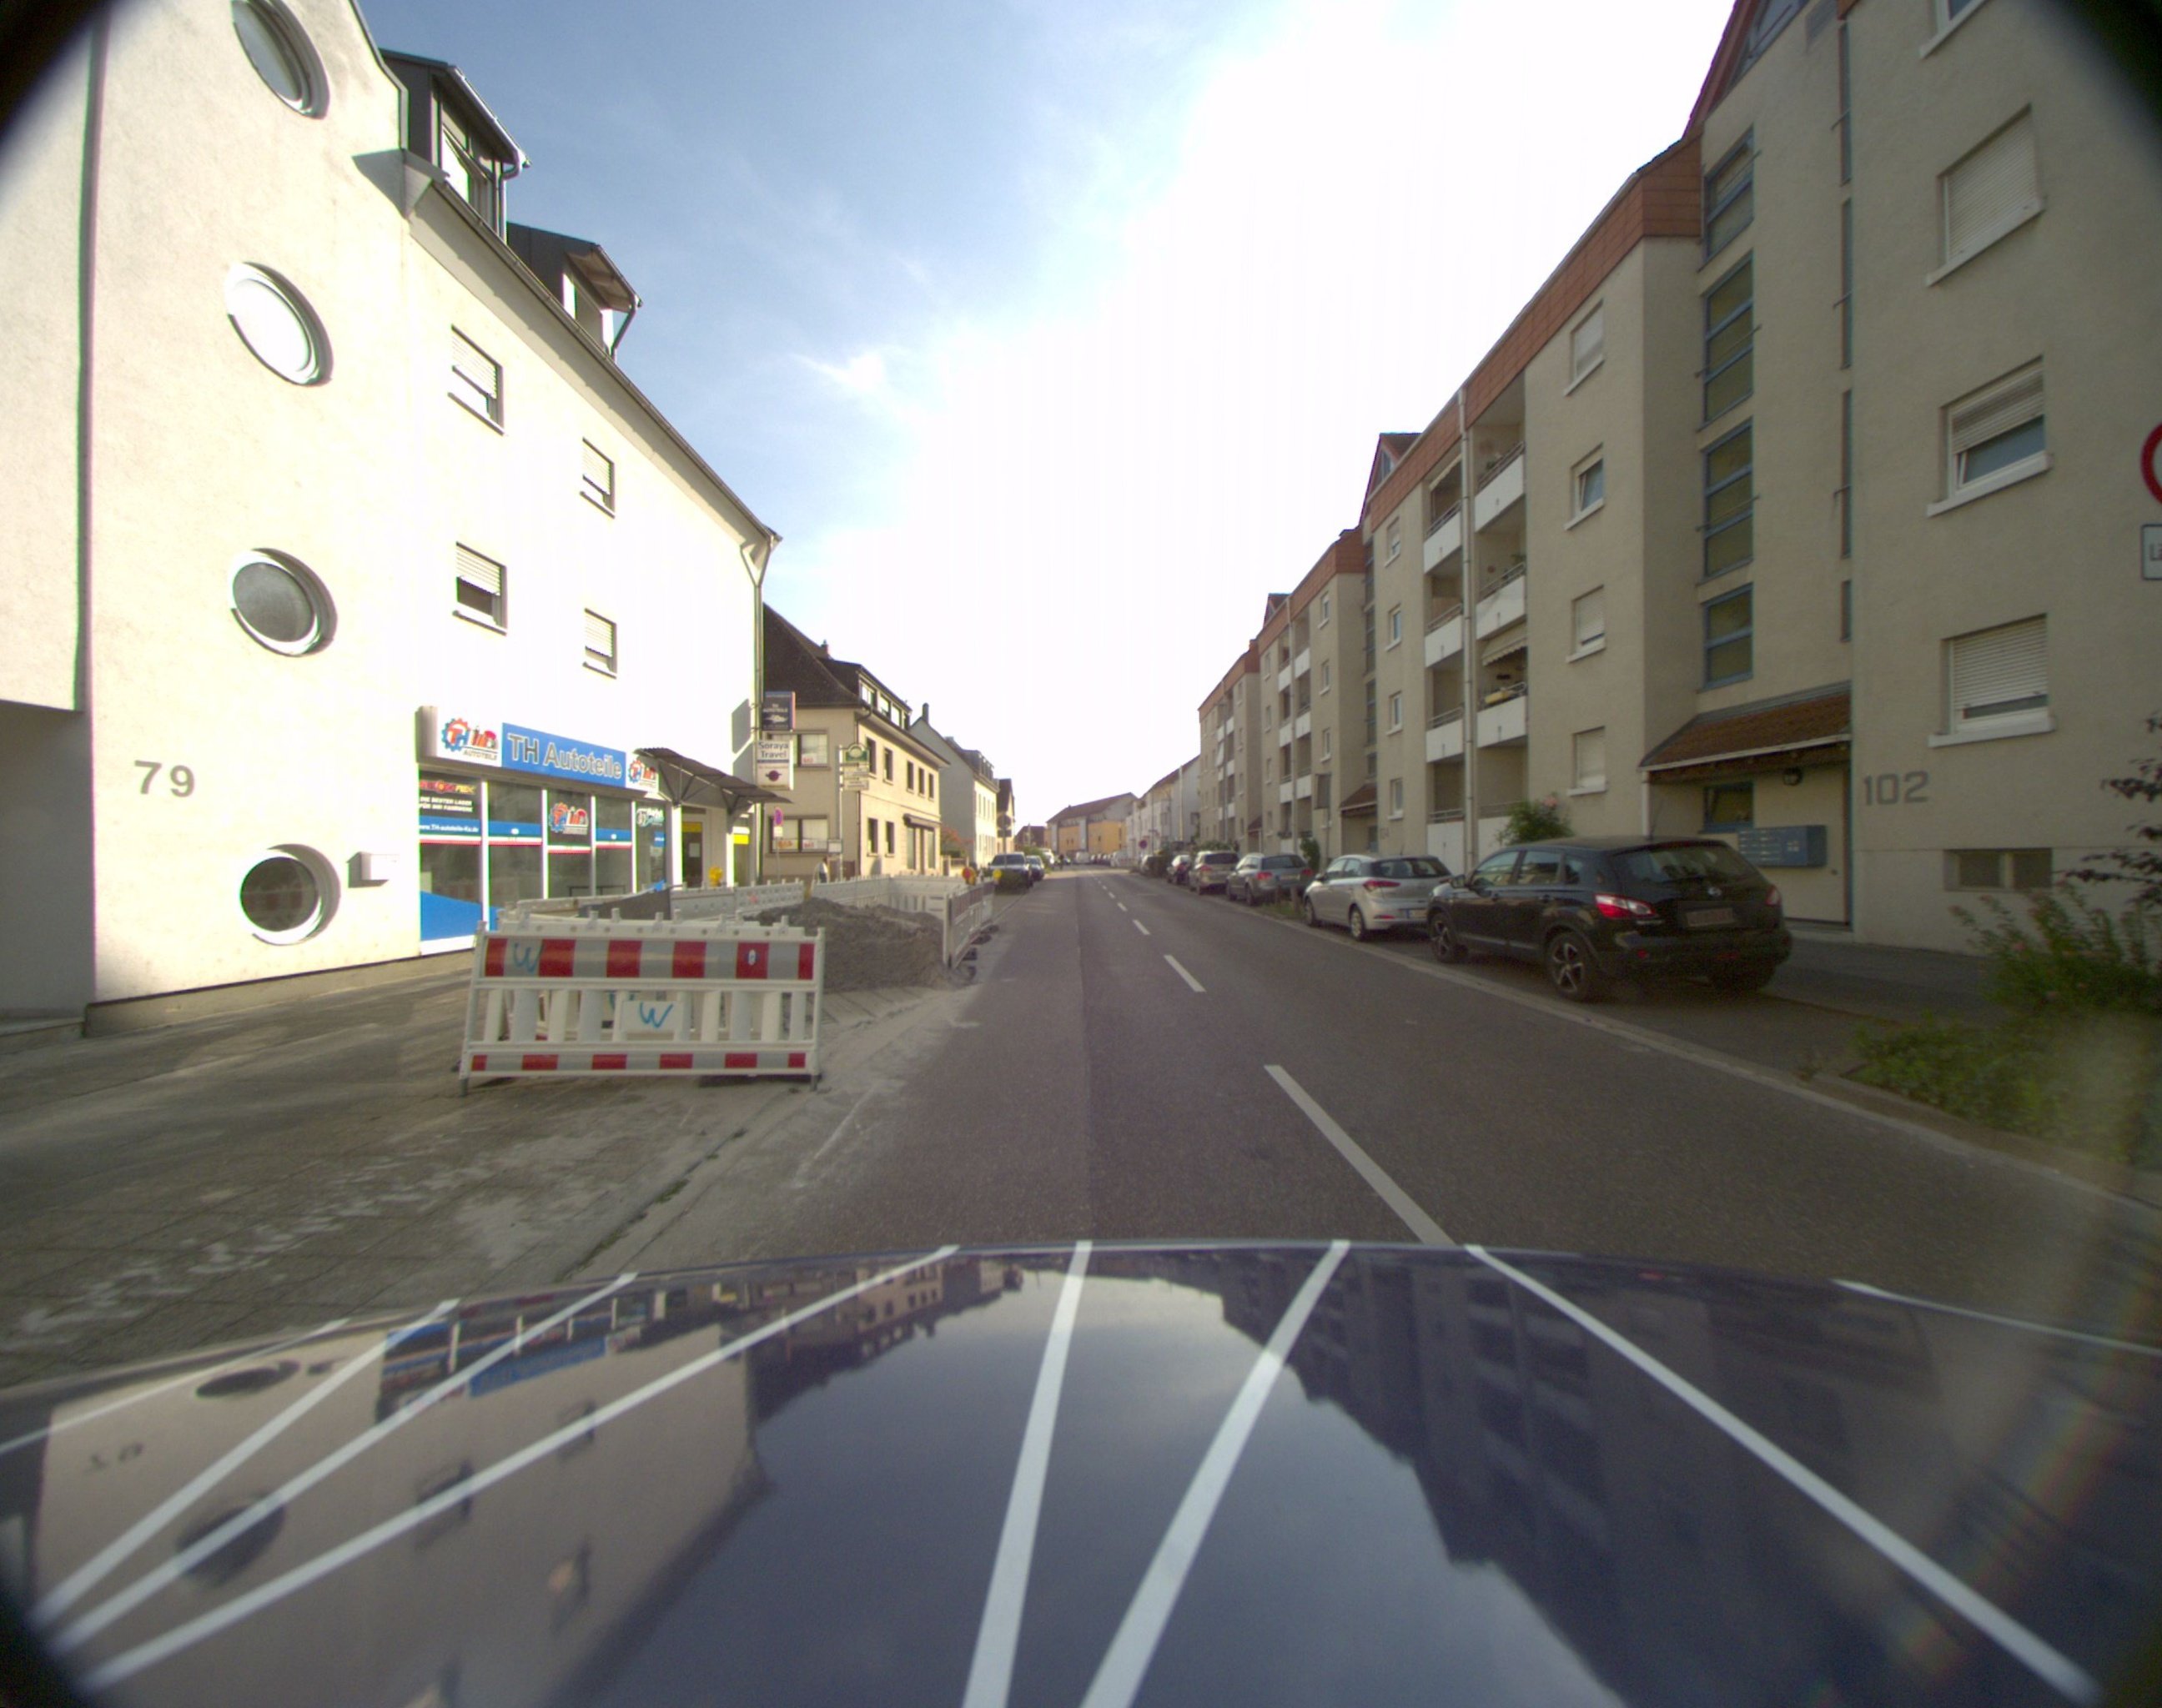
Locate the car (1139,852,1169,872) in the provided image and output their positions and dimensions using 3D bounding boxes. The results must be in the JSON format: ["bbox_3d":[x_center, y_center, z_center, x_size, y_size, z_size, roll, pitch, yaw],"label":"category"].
[{"bbox_3d":[5.261,0.564,55.136,1.645,1.387,3.670,-1,0,-2],"label":"car"}]

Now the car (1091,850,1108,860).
[{"bbox_3d":[2.741,0.201,114.174,1.733,1.469,4.500,-2,0,-8],"label":"car"}]

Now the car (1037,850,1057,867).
[{"bbox_3d":[-3.380,0.425,76.736,1.817,1.674,4.476,0,0,-1],"label":"car"}]

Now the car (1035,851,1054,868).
[{"bbox_3d":[-3.390,0.479,71.439,1.593,1.519,4.612,1,1,-1],"label":"car"}]

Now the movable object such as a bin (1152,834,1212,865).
[{"bbox_3d":[10.141,-0.452,76.536,5.517,2.883,2.110,-2,0,-12],"label":"movable object such as a bin"}]

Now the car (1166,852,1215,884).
[{"bbox_3d":[5.265,0.637,36.983,1.690,1.397,4.083,-2,0,-1],"label":"car"}]

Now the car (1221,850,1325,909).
[{"bbox_3d":[5.487,0.682,22.326,1.812,1.512,4.369,-2,0,-1],"label":"car"}]

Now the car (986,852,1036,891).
[{"bbox_3d":[-3.113,0.724,34.547,1.834,1.620,4.462,0,0,0],"label":"car"}]

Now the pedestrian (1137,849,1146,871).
[{"bbox_3d":[5.130,0.516,64.473,0.720,1.808,0.745,-1,0,0],"label":"pedestrian"}]

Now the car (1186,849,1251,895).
[{"bbox_3d":[5.086,0.611,28.568,1.731,1.546,3.965,-2,0,1],"label":"car"}]

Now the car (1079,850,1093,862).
[{"bbox_3d":[0.659,0.264,110.146,1.927,1.756,4.337,-1,0,-1],"label":"car"}]

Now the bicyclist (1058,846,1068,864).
[{"bbox_3d":[-1.722,0.111,72.024,0.845,1.680,0.877,-1,1,-4],"label":"bicyclist"}]

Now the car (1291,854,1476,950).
[{"bbox_3d":[5.305,0.751,13.943,1.690,1.446,4.140,-2,0,0],"label":"car"}]

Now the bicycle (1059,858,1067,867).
[{"bbox_3d":[-1.717,0.797,71.945,0.680,0.849,2.026,-1,0,-5],"label":"bicycle"}]

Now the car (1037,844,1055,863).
[{"bbox_3d":[-4.497,-0.102,96.153,2.180,2.314,4.996,1,0,-3],"label":"car"}]

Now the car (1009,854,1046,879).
[{"bbox_3d":[-3.132,0.718,45.252,1.834,1.412,4.608,0,0,0],"label":"car"}]

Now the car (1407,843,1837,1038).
[{"bbox_3d":[5.498,0.719,8.585,1.690,1.594,4.369,-2,0,-1],"label":"car"}]

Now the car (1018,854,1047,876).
[{"bbox_3d":[-3.235,0.711,51.574,1.784,1.412,4.495,-1,0,-1],"label":"car"}]

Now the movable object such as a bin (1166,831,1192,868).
[{"bbox_3d":[8.467,-0.400,65.852,1.652,3.120,3.899,-1,0,-2],"label":"movable object such as a bin"}]

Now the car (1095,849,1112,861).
[{"bbox_3d":[3.176,0.126,109.269,1.733,1.612,4.260,-1,0,-8],"label":"car"}]
